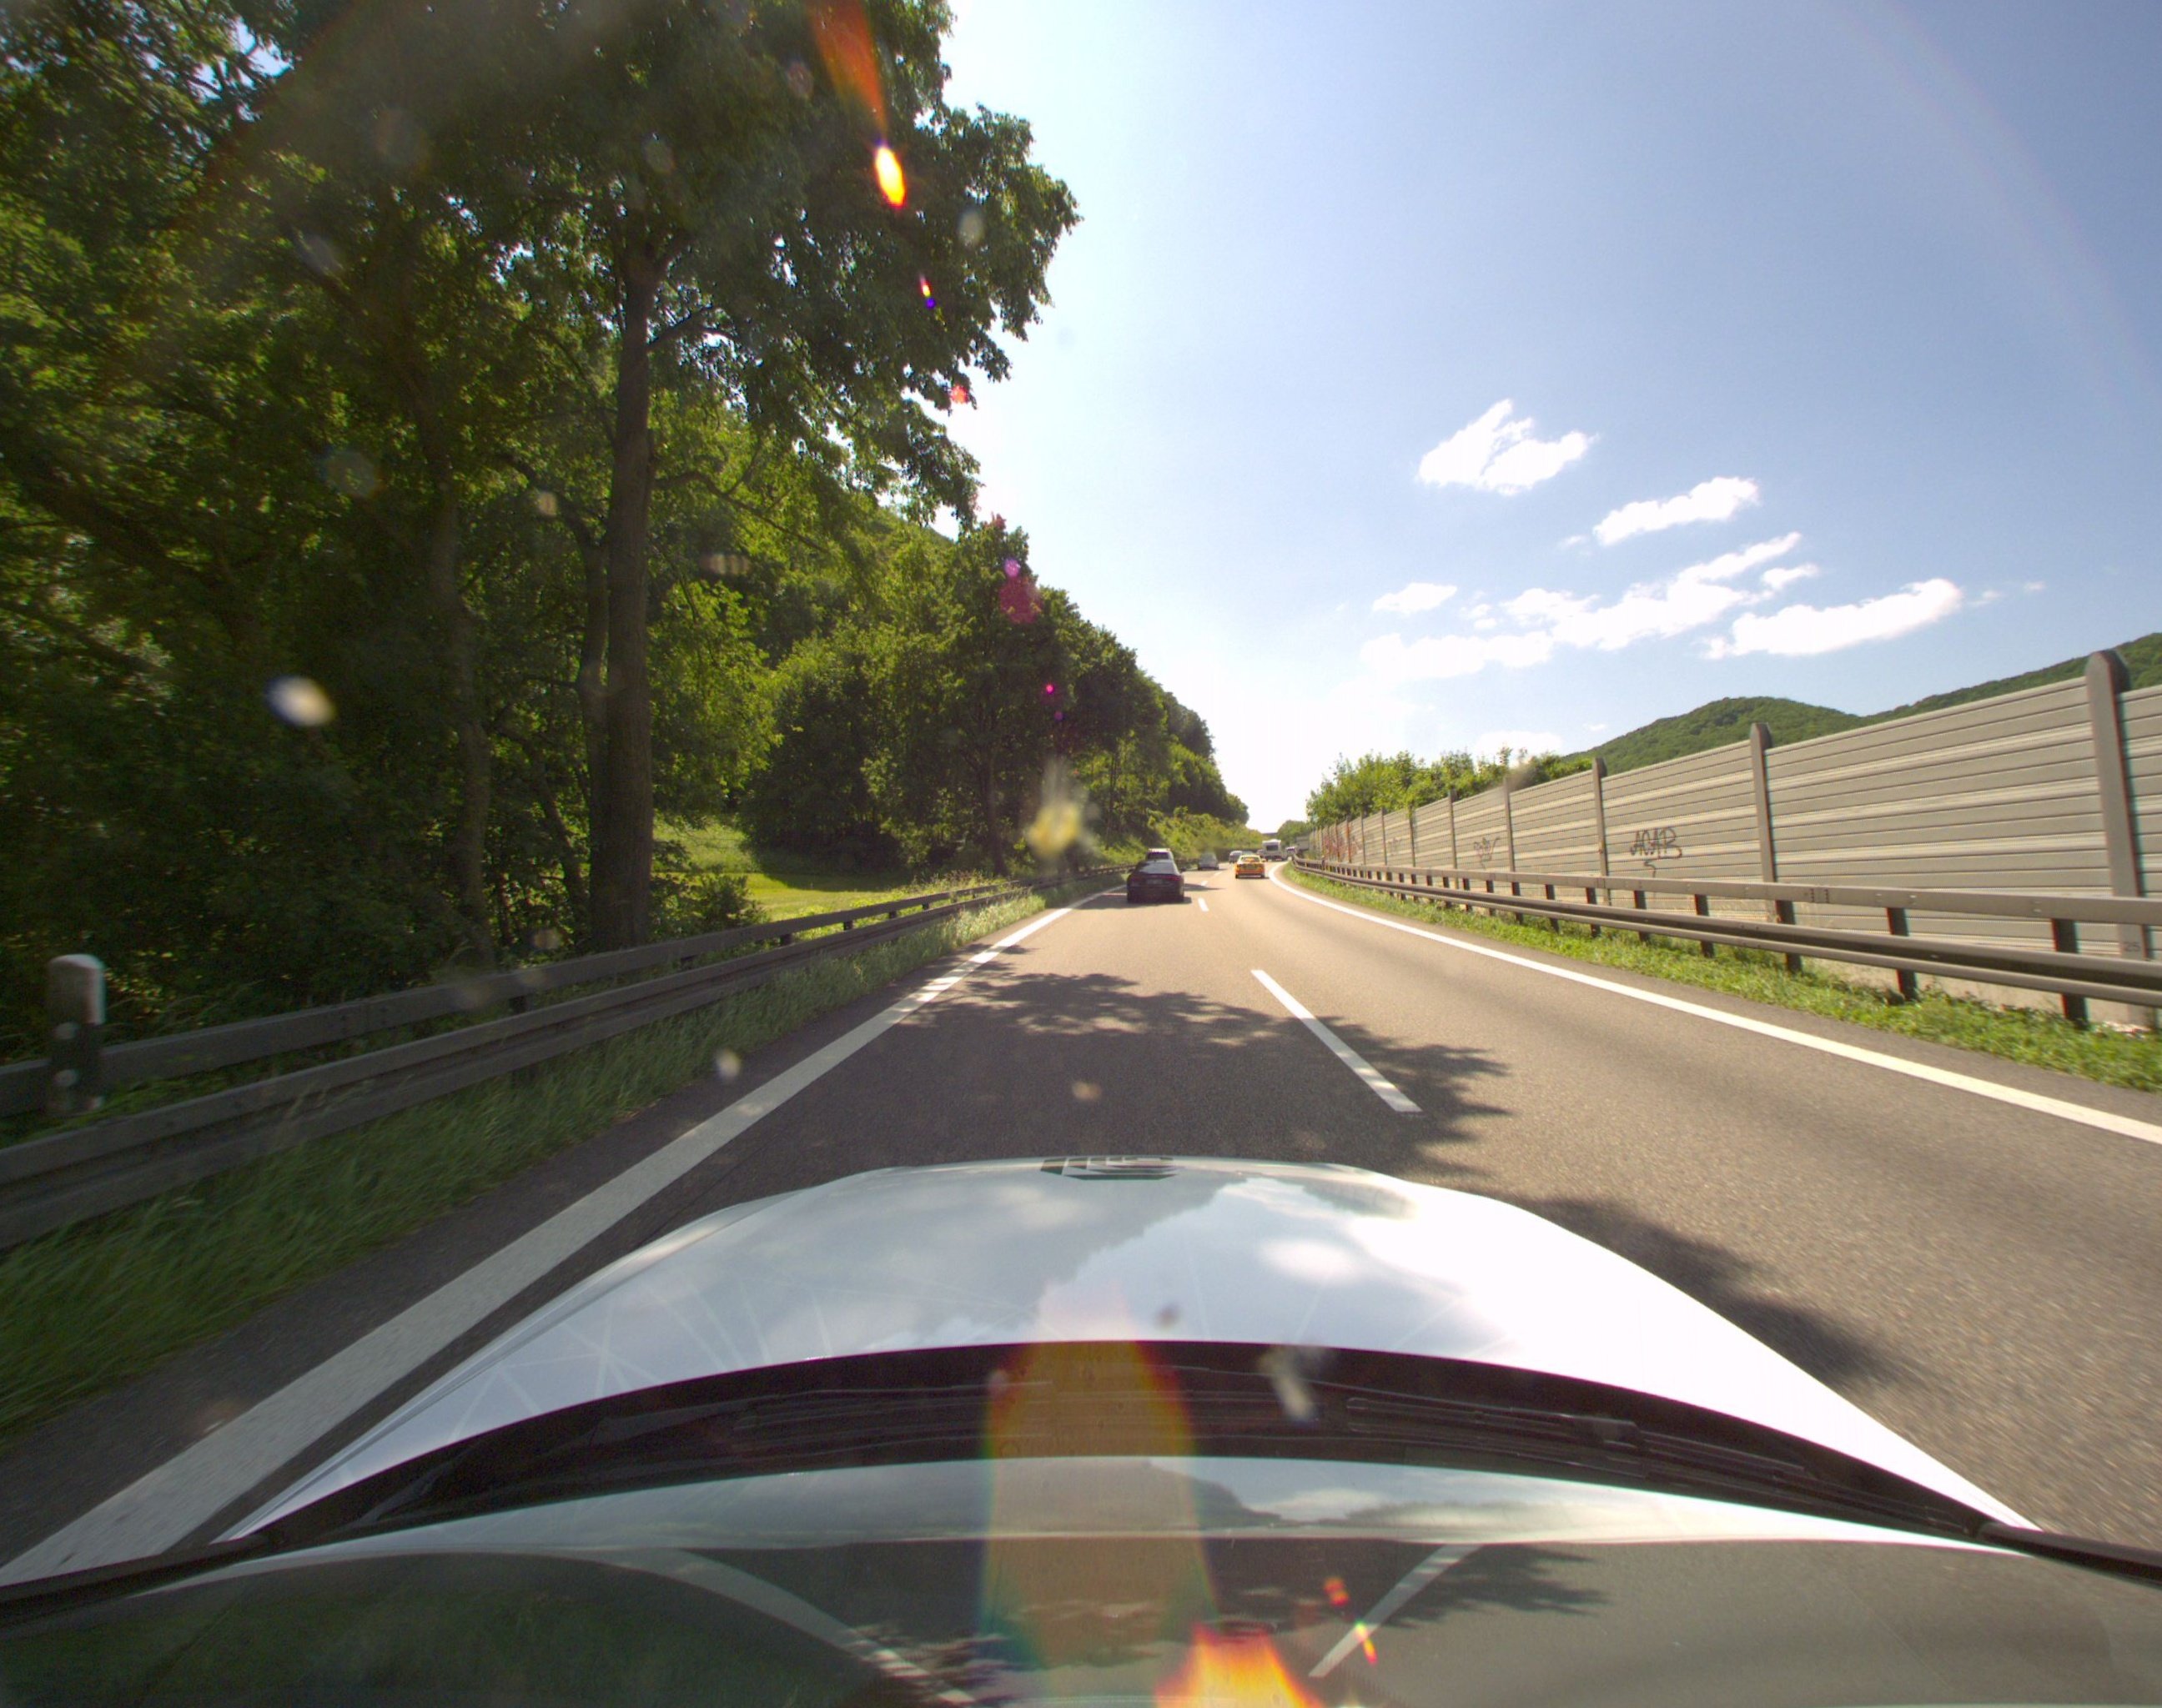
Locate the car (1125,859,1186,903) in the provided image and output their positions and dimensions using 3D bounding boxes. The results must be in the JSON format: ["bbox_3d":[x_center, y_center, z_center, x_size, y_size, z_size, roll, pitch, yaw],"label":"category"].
[{"bbox_3d":[2.619,0.887,27.852,1.827,1.349,4.009,-2,-1,8],"label":"car"}]

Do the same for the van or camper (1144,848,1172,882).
[{"bbox_3d":[4.537,0.640,47.409,1.384,1.816,4.009,-2,-1,8],"label":"van or camper"}]

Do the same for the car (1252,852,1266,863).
[{"bbox_3d":[28.779,0.552,131.738,1.826,1.717,4.019,-2,-1,18],"label":"car"}]

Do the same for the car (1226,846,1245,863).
[{"bbox_3d":[19.211,0.040,100.953,1.979,2.013,4.016,-2,0,15],"label":"car"}]

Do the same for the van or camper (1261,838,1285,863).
[{"bbox_3d":[24.283,-0.389,102.948,2.436,2.918,6.153,-2,-1,17],"label":"van or camper"}]

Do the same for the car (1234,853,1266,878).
[{"bbox_3d":[10.541,0.704,50.850,1.851,1.488,4.012,-2,-1,11],"label":"car"}]

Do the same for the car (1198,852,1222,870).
[{"bbox_3d":[11.214,0.620,70.825,1.735,1.431,4.014,-2,-1,13],"label":"car"}]

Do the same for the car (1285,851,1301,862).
[{"bbox_3d":[33.980,0.372,130.447,1.976,1.717,4.022,-2,0,22],"label":"car"}]

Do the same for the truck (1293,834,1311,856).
[{"bbox_3d":[42.647,-1.727,157.220,2.710,4.097,7.514,-2,-1,18],"label":"truck"}]
